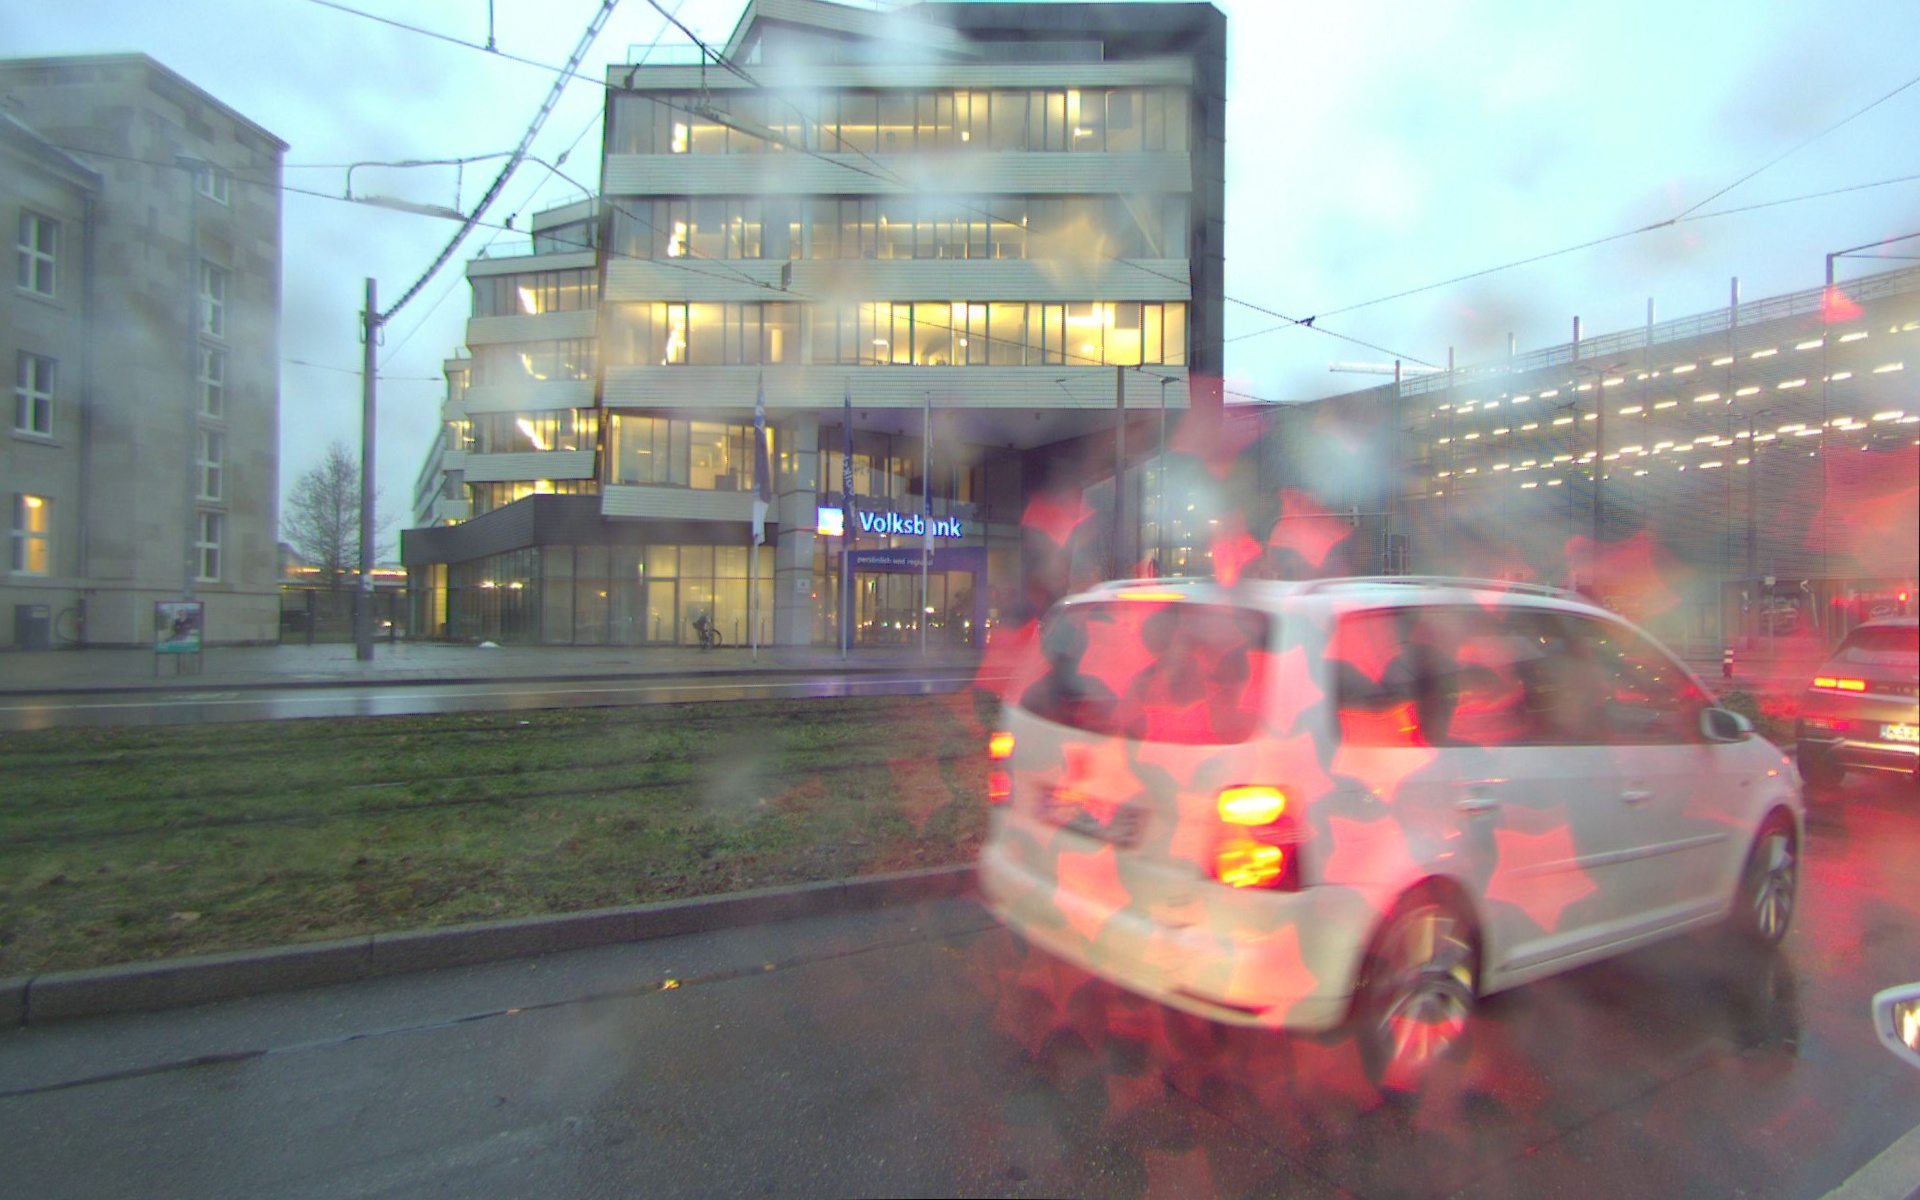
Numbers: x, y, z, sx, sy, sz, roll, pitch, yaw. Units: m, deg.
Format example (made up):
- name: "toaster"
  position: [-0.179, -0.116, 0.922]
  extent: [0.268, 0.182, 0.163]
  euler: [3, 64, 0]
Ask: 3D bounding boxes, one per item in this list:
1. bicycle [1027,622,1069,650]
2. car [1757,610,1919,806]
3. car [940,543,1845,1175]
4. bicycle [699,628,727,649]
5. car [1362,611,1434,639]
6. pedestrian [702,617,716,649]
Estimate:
- name: "bicycle"
  position: [3.526, 1.441, 40.109]
  extent: [1.588, 1.105, 0.553]
  euler: [1, -1, -23]
- name: "car"
  position: [9.332, 0.927, 9.489]
  extent: [3.959, 1.595, 1.742]
  euler: [1, -1, -34]
- name: "car"
  position: [2.098, 0.687, 4.471]
  extent: [4.102, 1.682, 1.660]
  euler: [1, 1, -33]
- name: "bicycle"
  position: [-8.617, 1.349, 35.065]
  extent: [0.896, 0.724, 0.483]
  euler: [1, -1, -10]
- name: "car"
  position: [33.399, 1.879, 76.713]
  extent: [1.782, 2.027, 4.806]
  euler: [1, -1, -36]
- name: "pedestrian"
  position: [-8.581, 1.119, 34.383]
  extent: [0.380, 1.103, 0.325]
  euler: [0, -1, 5]
